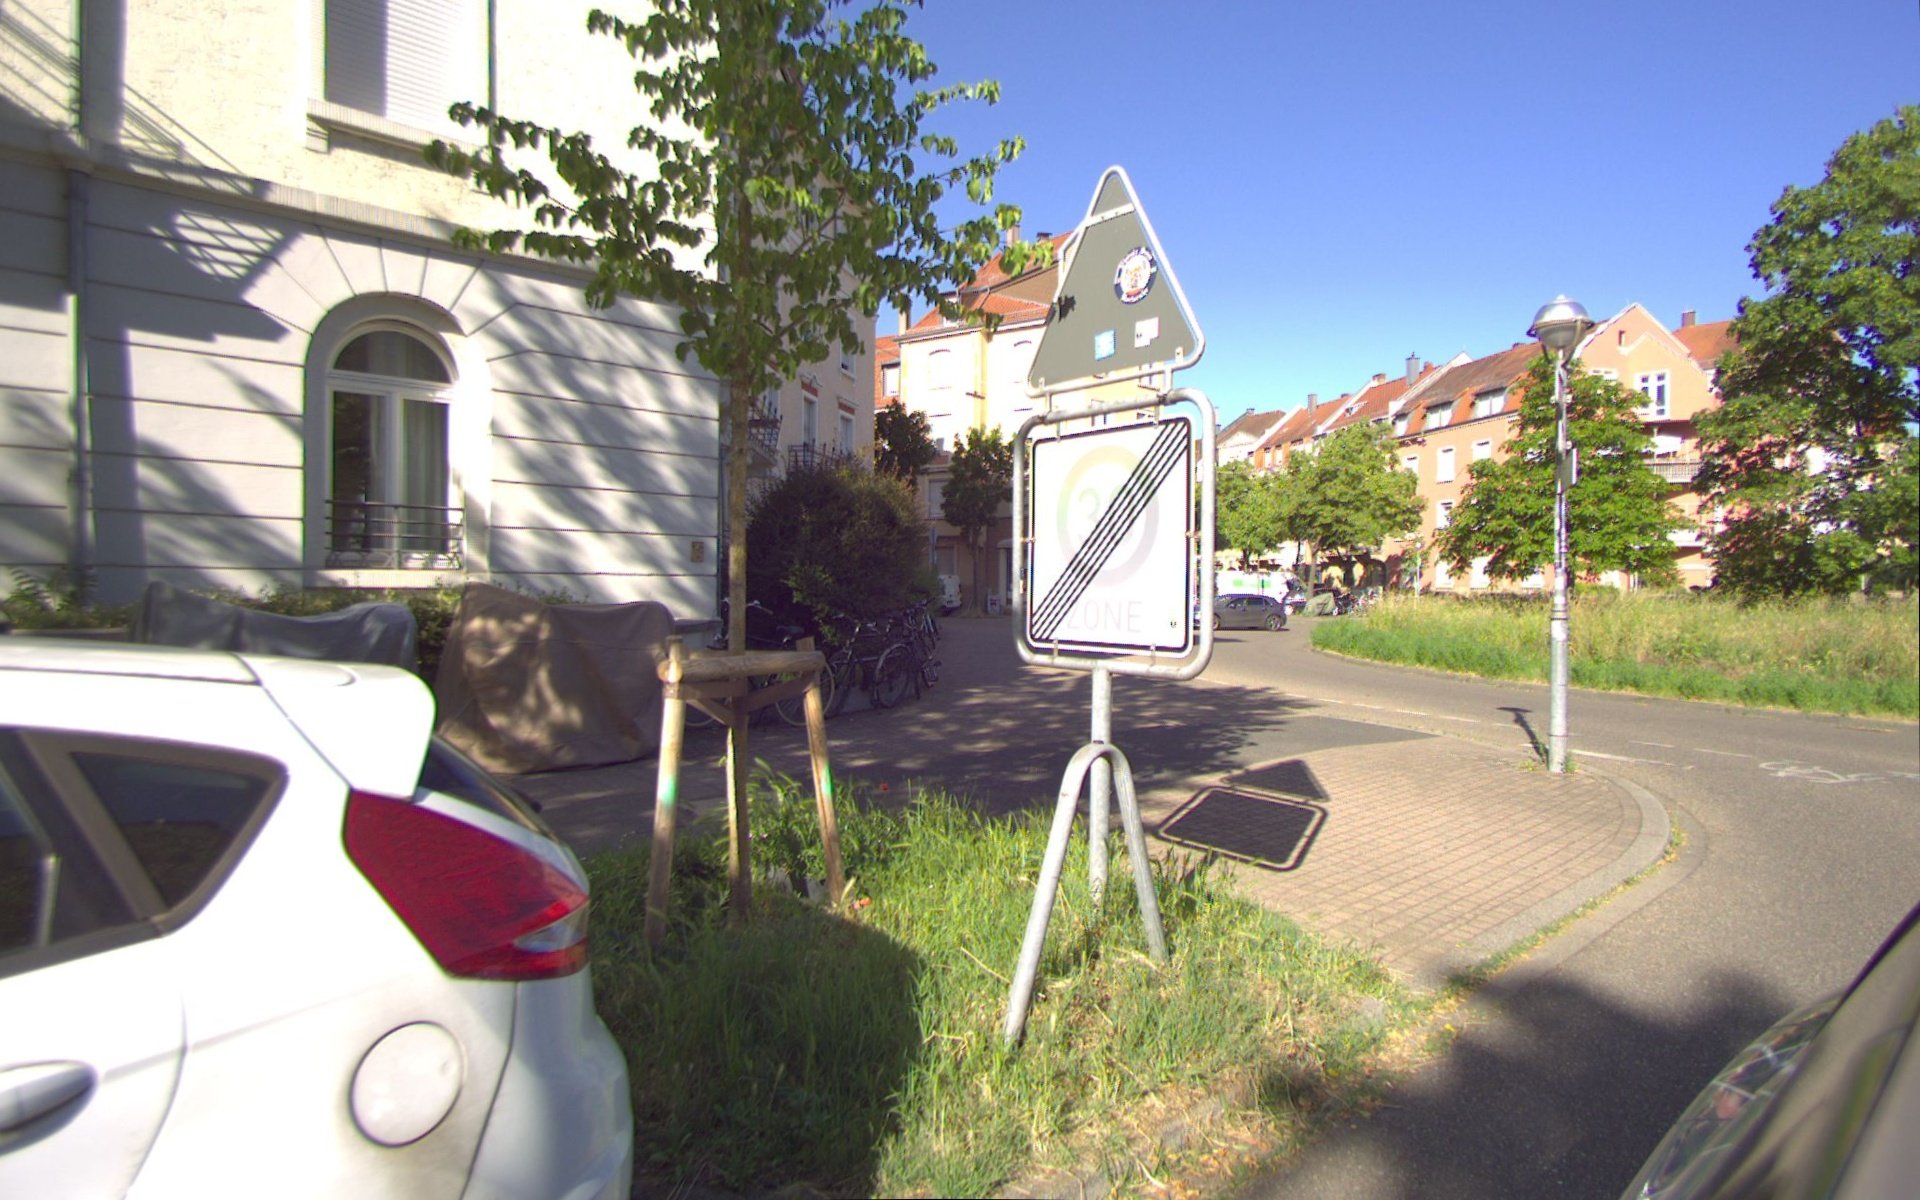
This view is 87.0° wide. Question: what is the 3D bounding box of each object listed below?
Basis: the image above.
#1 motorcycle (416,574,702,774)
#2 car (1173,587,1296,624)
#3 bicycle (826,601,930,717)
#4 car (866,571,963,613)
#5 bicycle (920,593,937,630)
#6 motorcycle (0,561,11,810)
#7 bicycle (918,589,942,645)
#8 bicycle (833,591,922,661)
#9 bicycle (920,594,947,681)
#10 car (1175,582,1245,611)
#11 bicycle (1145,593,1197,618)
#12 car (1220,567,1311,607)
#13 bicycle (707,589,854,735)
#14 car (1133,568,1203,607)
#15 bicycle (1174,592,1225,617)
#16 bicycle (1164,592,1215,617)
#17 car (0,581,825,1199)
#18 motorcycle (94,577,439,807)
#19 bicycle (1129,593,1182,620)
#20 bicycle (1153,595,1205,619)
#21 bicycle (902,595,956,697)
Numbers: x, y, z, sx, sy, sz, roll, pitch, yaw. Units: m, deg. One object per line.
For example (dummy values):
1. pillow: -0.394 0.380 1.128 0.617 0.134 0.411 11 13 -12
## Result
1. motorcycle: -3.045 0.482 7.790 0.970 1.345 1.824 0 1 44
2. car: 10.860 0.207 40.084 4.315 1.426 1.852 0 -1 -12
3. bicycle: -0.853 0.593 10.901 0.348 1.117 1.557 1 2 27
4. car: -2.239 -0.436 49.266 4.409 1.965 1.879 1 1 29
5. bicycle: -0.893 0.323 28.907 0.371 1.007 1.390 0 1 3
6. motorcycle: -6.256 0.479 5.150 2.053 1.378 0.540 0 1 -41
7. bicycle: -0.658 0.360 22.443 0.427 1.169 1.670 2 1 0
8. bicycle: -1.419 0.443 17.376 1.480 1.169 0.436 0 0 -12
9. bicycle: -0.388 0.503 14.475 0.359 1.163 1.639 0 1 -2
10. car: 13.284 -0.196 53.998 1.958 1.461 4.008 0 1 -13
11. bicycle: 9.315 0.226 44.711 0.643 1.066 2.364 0 1 -40
12. car: 18.966 -0.847 62.919 5.146 2.391 2.017 1 1 29
13. bicycle: -1.655 0.536 9.508 0.325 1.253 1.481 1 2 42
14. car: 12.062 -0.726 59.120 2.207 2.146 4.811 0 1 -12
15. bicycle: 10.898 0.202 46.118 0.643 1.066 2.364 0 1 -40
16. bicycle: 10.351 0.198 45.693 0.643 1.066 2.364 1 1 -40
17. car: -2.281 0.689 0.933 4.064 1.419 1.655 0 1 -42
18. motorcycle: -4.484 0.510 6.646 0.656 1.295 1.772 3 2 42
19. bicycle: 8.513 0.273 44.246 0.642 1.066 2.364 4 -2 -40
20. bicycle: 9.774 0.310 45.252 0.642 1.028 2.364 1 0 -40
21. bicycle: -0.361 0.534 12.693 0.437 1.163 1.777 0 1 6
